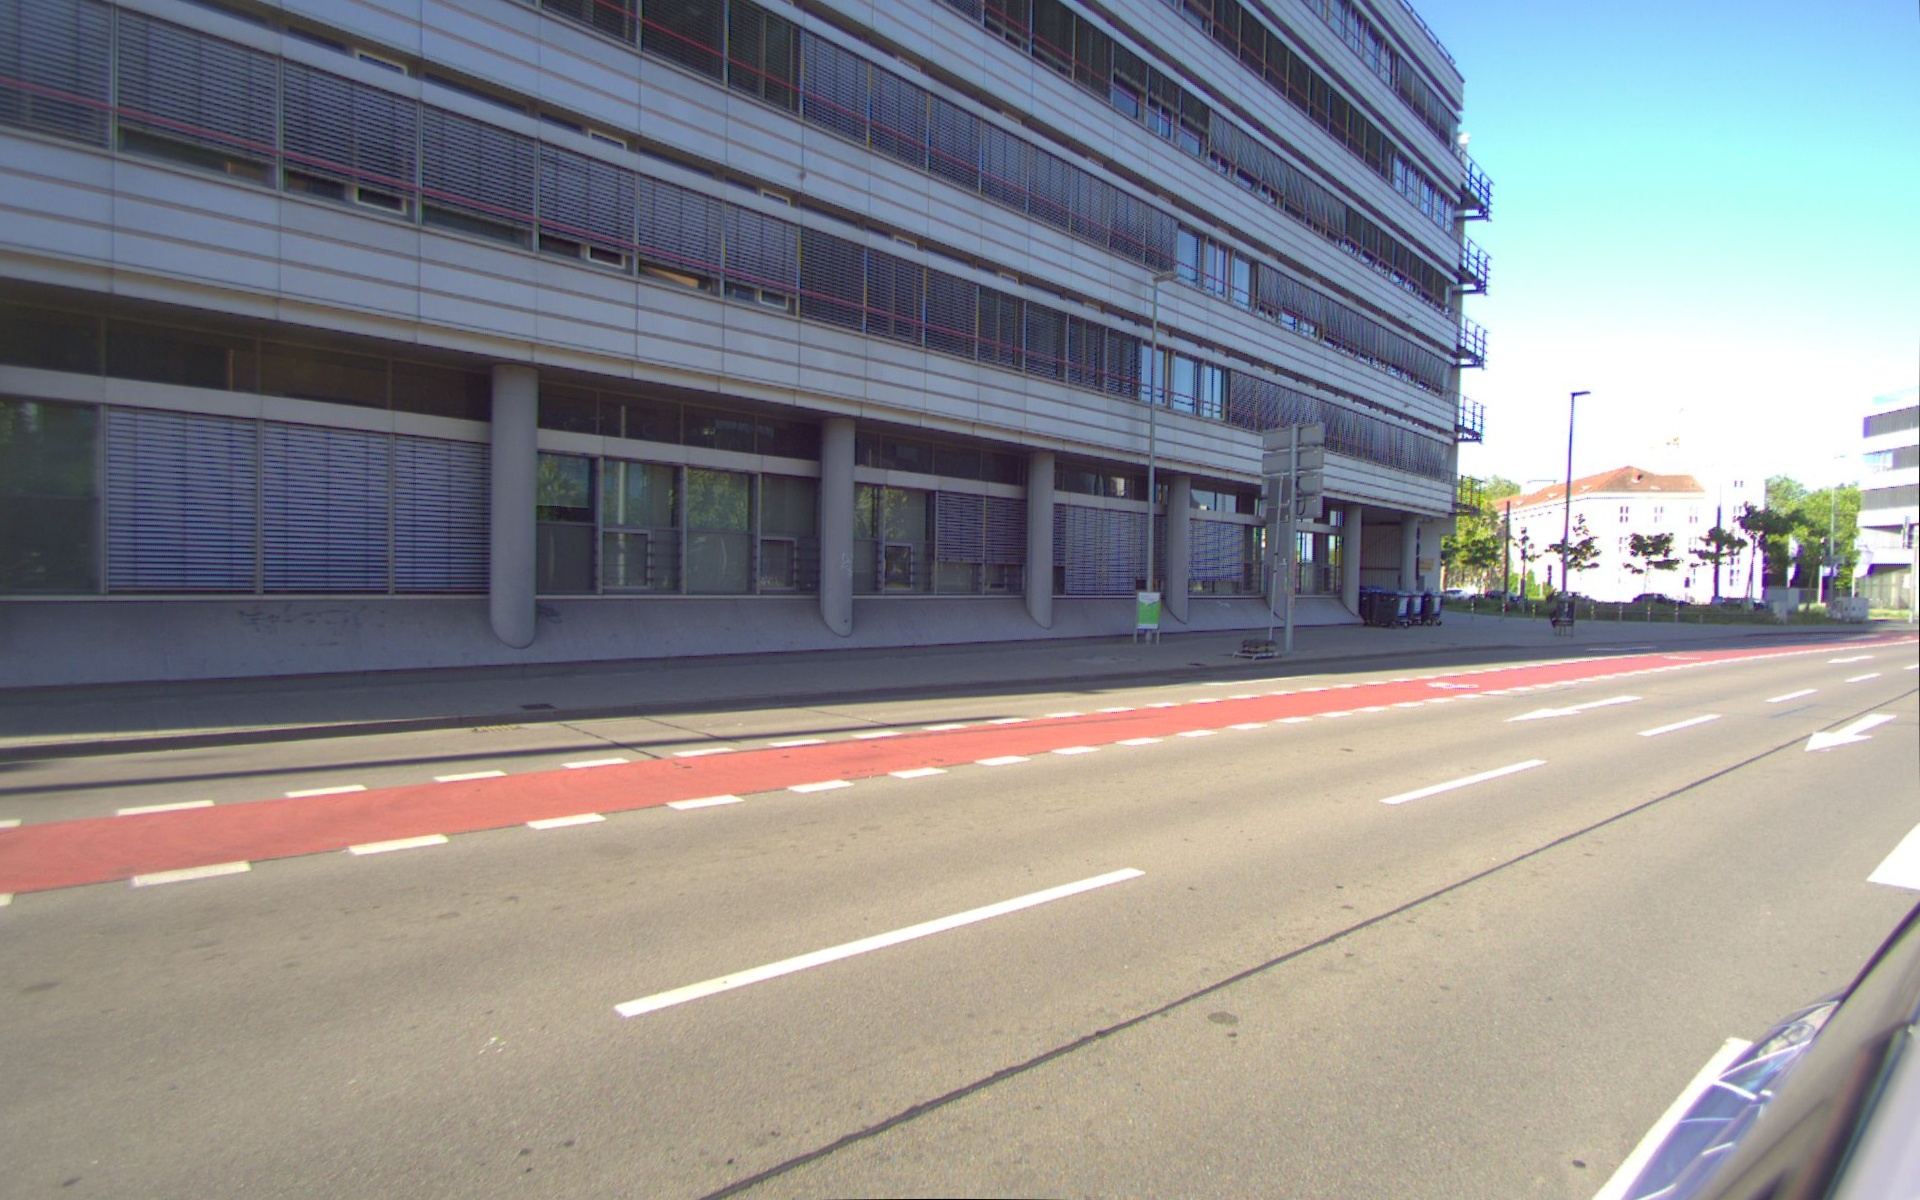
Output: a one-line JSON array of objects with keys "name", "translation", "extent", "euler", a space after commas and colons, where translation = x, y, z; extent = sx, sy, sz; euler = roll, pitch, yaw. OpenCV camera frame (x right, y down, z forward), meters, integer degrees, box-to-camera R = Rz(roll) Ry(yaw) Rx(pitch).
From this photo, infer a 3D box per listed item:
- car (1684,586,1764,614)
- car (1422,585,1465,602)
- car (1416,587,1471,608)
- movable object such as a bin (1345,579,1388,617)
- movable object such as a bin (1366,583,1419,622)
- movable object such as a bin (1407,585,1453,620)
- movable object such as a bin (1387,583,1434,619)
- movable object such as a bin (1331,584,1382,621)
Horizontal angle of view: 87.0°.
[{"name": "car", "translation": [45.863, -0.008, 60.827], "extent": [1.706, 1.551, 3.806], "euler": [1, 1, -4]}, {"name": "car", "translation": [49.302, -0.666, 103.295], "extent": [3.773, 1.551, 1.720], "euler": [2, 2, 32]}, {"name": "car", "translation": [39.978, -0.211, 83.759], "extent": [1.705, 1.551, 3.807], "euler": [0, 2, -28]}, {"name": "movable object such as a bin", "translation": [15.515, -0.074, 38.612], "extent": [1.088, 1.391, 1.109], "euler": [0, 1, -40]}, {"name": "movable object such as a bin", "translation": [15.322, 0.083, 35.852], "extent": [1.153, 1.317, 1.327], "euler": [0, 2, -40]}, {"name": "movable object such as a bin", "translation": [18.243, 0.097, 39.291], "extent": [1.305, 1.317, 1.173], "euler": [0, 2, -40]}, {"name": "movable object such as a bin", "translation": [17.149, 0.041, 38.540], "extent": [1.305, 1.317, 1.173], "euler": [0, 2, -40]}, {"name": "movable object such as a bin", "translation": [14.468, 0.075, 36.916], "extent": [1.153, 1.317, 1.327], "euler": [0, 2, -40]}]
